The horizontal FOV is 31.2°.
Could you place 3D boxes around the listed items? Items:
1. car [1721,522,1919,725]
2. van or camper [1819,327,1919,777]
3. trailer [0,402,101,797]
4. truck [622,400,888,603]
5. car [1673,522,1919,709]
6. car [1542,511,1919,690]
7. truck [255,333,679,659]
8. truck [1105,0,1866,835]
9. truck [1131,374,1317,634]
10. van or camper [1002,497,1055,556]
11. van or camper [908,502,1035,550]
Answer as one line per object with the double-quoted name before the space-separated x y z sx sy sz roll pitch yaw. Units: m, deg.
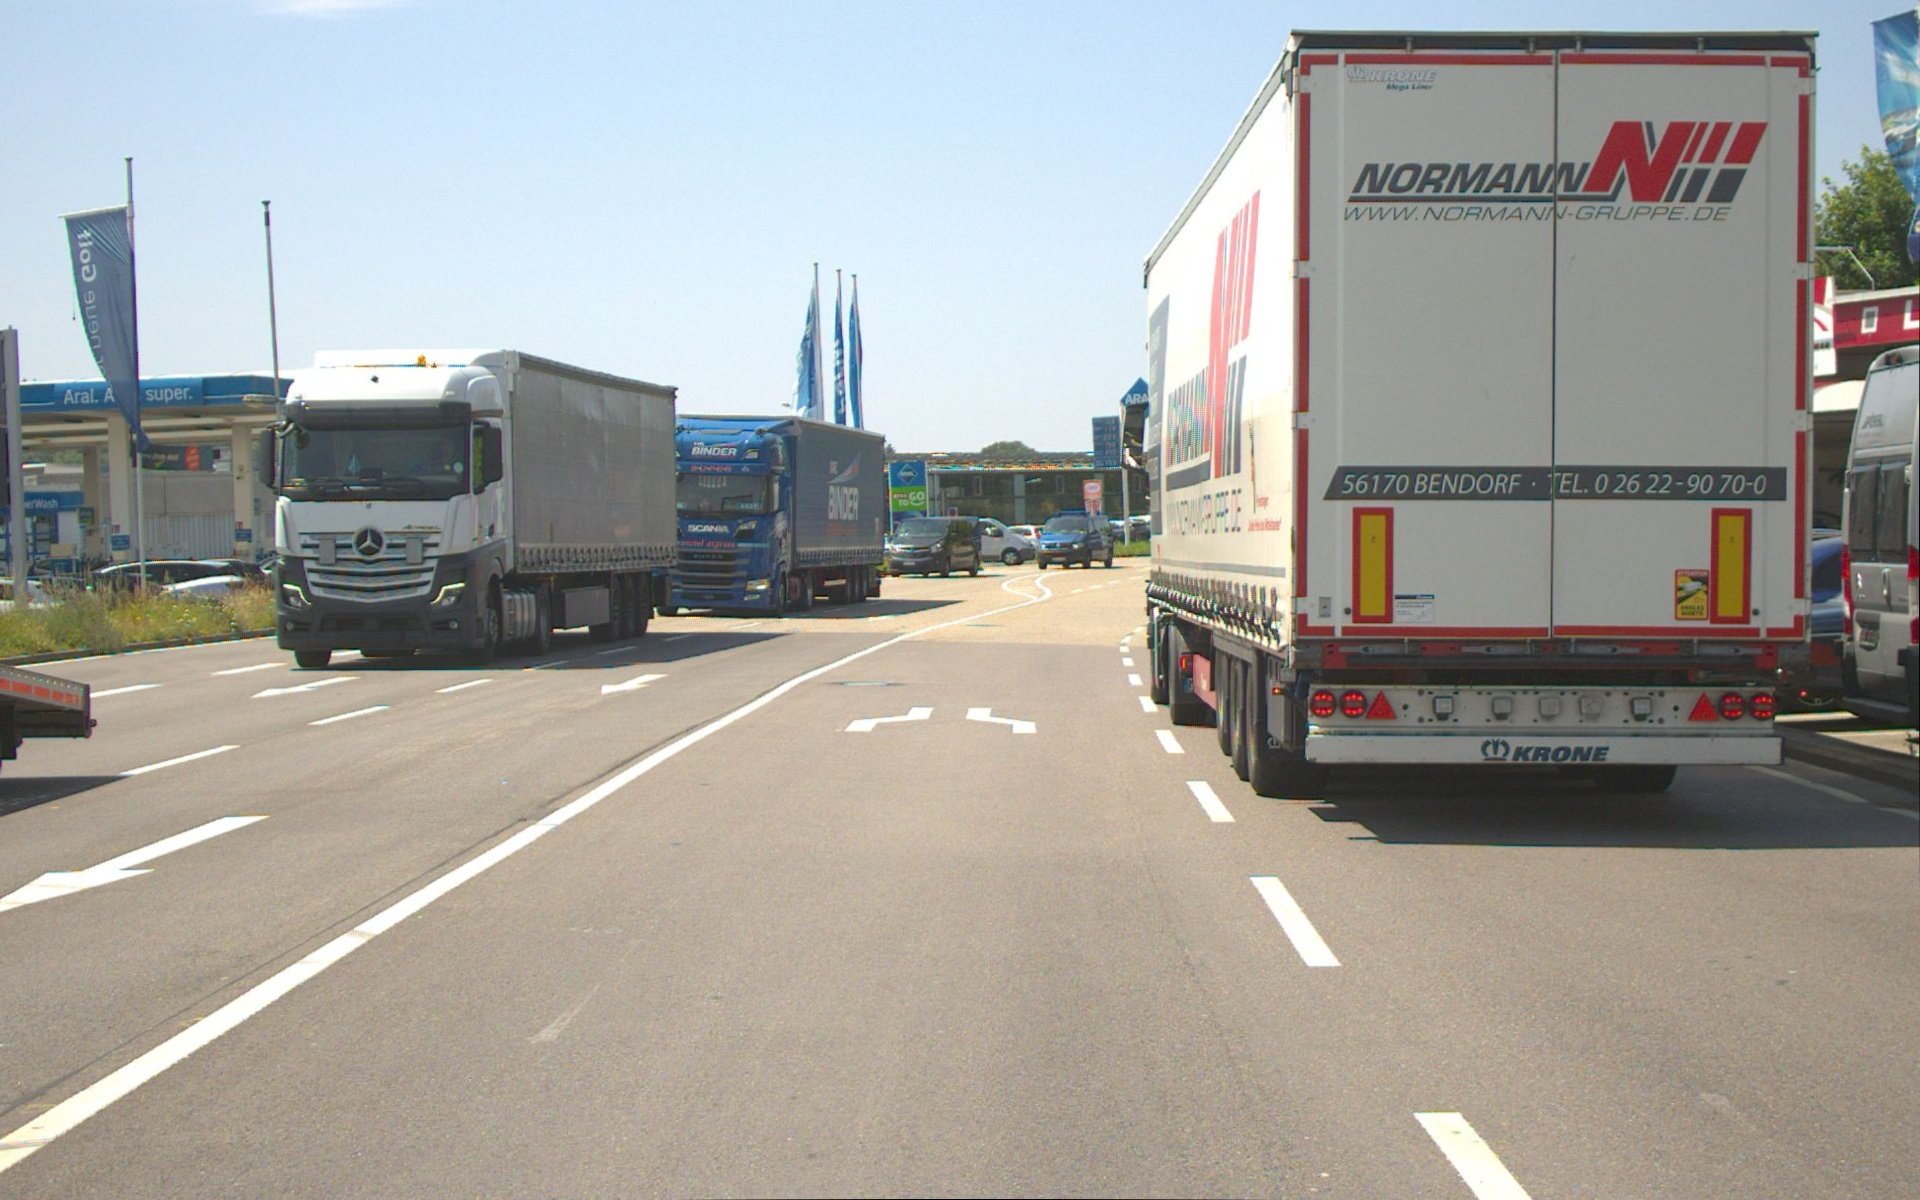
"car" 8.426 0.118 26.950 4.514 1.513 1.783 -2 1 2
"van or camper" 8.454 -0.356 21.782 5.476 2.720 2.232 -1 1 3
"trailer" -6.987 0.079 18.718 2.428 2.330 6.896 -3 1 3
"truck" -4.106 -1.990 74.323 2.845 3.876 17.001 0 1 7
"car" 8.567 0.028 29.748 4.264 1.408 2.163 -4 1 1
"car" 8.145 -0.025 34.686 4.010 1.476 1.979 -5 1 -5
"truck" -6.532 -1.331 49.093 2.790 3.876 16.481 0 1 3
"truck" 2.904 -1.055 25.424 2.973 4.079 17.635 0 1 0
"truck" 4.344 -1.568 57.935 2.648 3.793 13.358 -2 1 4
"van or camper" 2.542 -2.707 126.808 1.837 2.130 5.343 0 1 2
"van or camper" 0.459 -2.958 138.117 4.849 1.898 1.904 0 1 10
